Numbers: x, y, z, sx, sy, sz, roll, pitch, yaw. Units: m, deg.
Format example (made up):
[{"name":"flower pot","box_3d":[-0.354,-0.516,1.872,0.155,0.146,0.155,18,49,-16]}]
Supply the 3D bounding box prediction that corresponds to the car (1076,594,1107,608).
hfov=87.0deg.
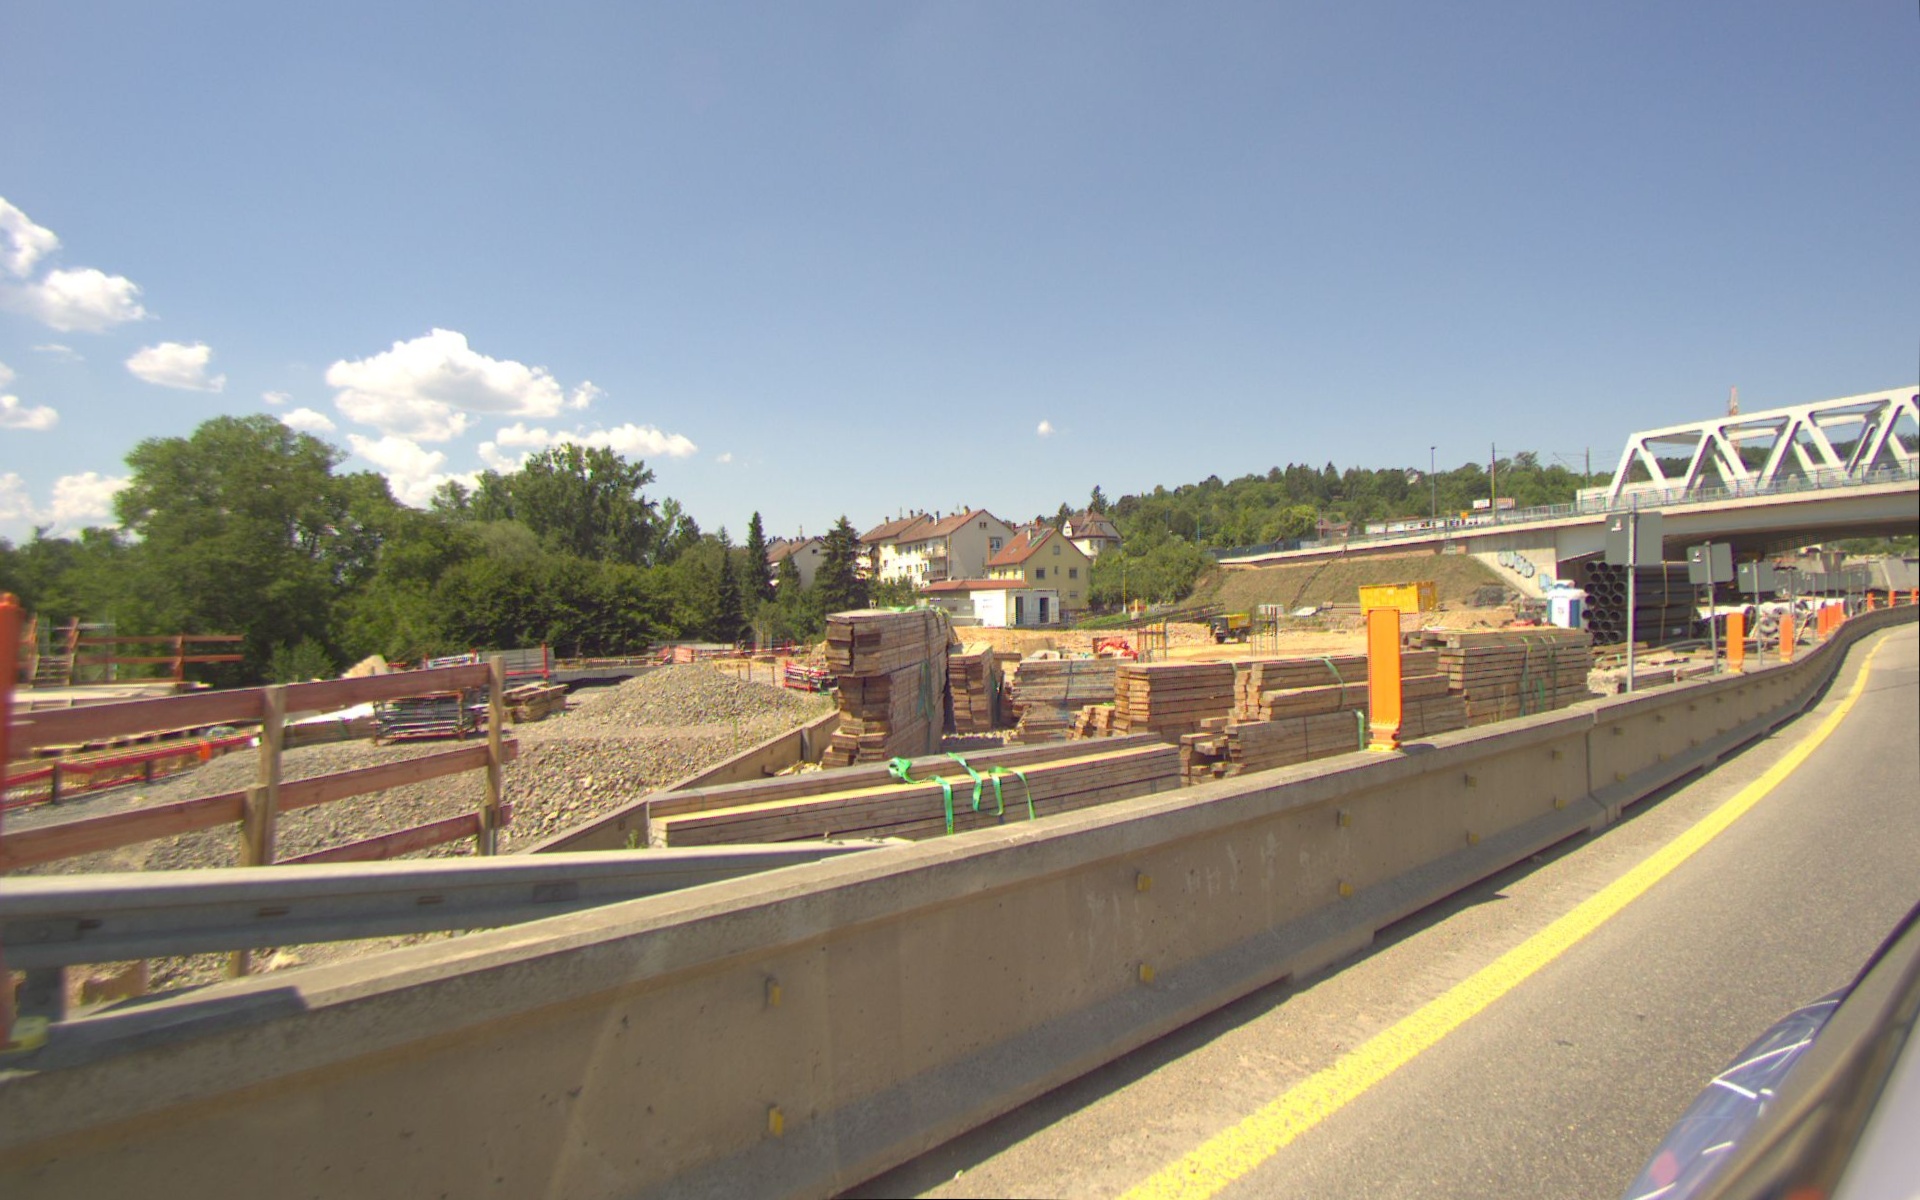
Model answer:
[{"name":"car","box_3d":[16.185,0.081,124.332,1.547,1.526,4.172,-4,3,-29]}]

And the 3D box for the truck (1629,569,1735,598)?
[{"name":"truck","box_3d":[59.059,-1.303,82.930,2.612,2.099,6.549,-3,1,-29]}]

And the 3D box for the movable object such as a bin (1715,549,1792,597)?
[{"name":"movable object such as a bin","box_3d":[64.238,-2.125,81.986,2.843,3.586,3.901,-4,1,-22]}]

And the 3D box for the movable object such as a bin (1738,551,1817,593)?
[{"name":"movable object such as a bin","box_3d":[72.492,-2.470,89.770,2.931,3.327,4.573,-4,1,-29]}]

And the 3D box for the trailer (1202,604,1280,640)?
[{"name":"trailer","box_3d":[13.483,1.017,48.525,3.756,1.504,1.628,-3,0,-37]}]

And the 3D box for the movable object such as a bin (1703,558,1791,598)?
[{"name":"movable object such as a bin","box_3d":[66.619,-1.856,85.765,2.447,3.094,5.262,-4,1,-28]}]
